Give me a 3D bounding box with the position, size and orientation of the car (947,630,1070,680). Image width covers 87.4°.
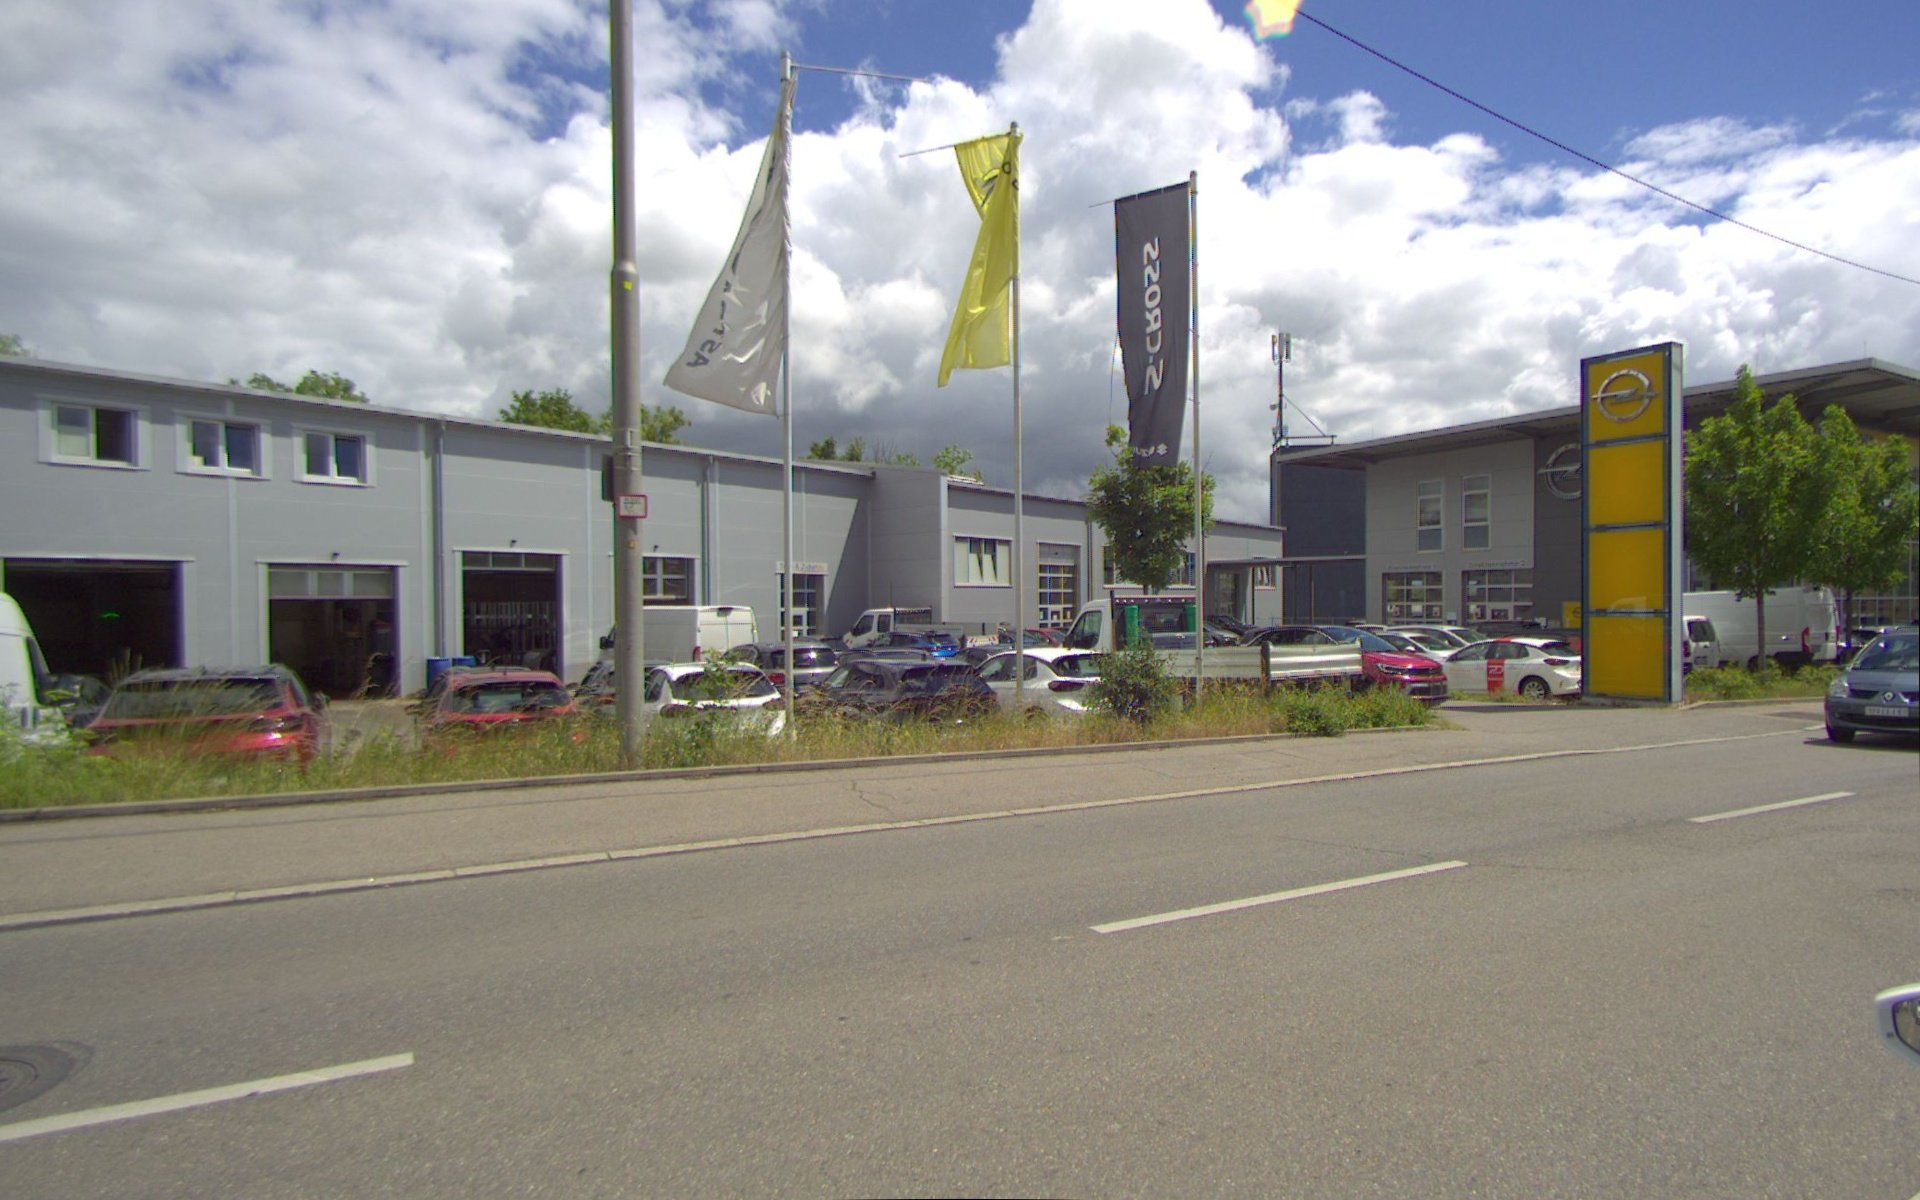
[{"bbox_3d":[1.755,1.965,36.842,4.174,1.603,1.921,1,-1,38],"label":"car"}]

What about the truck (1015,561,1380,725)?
[{"bbox_3d":[3.578,0.670,16.497,2.449,2.176,5.830,2,-2,-32],"label":"truck"}]

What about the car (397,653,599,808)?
[{"bbox_3d":[-5.701,1.450,12.427,1.903,1.404,4.020,2,-1,-26],"label":"car"}]

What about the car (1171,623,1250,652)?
[{"bbox_3d":[12.399,1.836,49.828,3.430,1.301,1.653,0,0,43],"label":"car"}]

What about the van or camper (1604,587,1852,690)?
[{"bbox_3d":[21.109,0.961,27.876,2.290,2.565,5.004,-1,0,-29],"label":"van or camper"}]

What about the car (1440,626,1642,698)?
[{"bbox_3d":[14.376,1.464,25.078,1.974,1.511,3.973,-1,0,-26],"label":"car"}]

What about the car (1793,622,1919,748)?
[{"bbox_3d":[13.777,1.139,14.266,3.996,1.616,1.735,1,-3,-31],"label":"car"}]

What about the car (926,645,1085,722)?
[{"bbox_3d":[0.869,1.712,21.385,1.626,1.346,3.806,2,-1,-29],"label":"car"}]

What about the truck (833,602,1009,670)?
[{"bbox_3d":[-1.504,1.262,36.343,6.220,2.258,2.689,-1,-2,41],"label":"truck"}]

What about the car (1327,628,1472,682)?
[{"bbox_3d":[13.328,1.611,30.636,1.827,1.417,3.675,-1,0,-32],"label":"car"}]

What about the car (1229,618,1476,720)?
[{"bbox_3d":[6.975,1.233,18.286,1.732,1.609,3.972,-1,-3,-28],"label":"car"}]

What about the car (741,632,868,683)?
[{"bbox_3d":[-5.191,1.851,33.301,4.178,1.428,1.919,0,1,40],"label":"car"}]

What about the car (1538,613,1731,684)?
[{"bbox_3d":[18.361,1.247,27.536,1.972,1.729,3.977,-1,0,-24],"label":"car"}]

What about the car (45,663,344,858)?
[{"bbox_3d":[-7.418,1.432,10.105,1.704,1.428,3.326,2,-1,-26],"label":"car"}]

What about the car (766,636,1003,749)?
[{"bbox_3d":[-1.180,1.173,13.928,1.905,1.227,3.700,2,-1,-29],"label":"car"}]

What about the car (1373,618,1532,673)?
[{"bbox_3d":[15.589,1.411,31.995,1.906,1.556,4.208,2,-1,-30],"label":"car"}]

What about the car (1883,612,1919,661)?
[{"bbox_3d":[33.577,1.257,33.281,4.468,1.593,1.935,1,-1,-6],"label":"car"}]

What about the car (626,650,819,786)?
[{"bbox_3d":[-3.161,1.384,12.883,1.688,1.342,3.534,2,-1,-26],"label":"car"}]

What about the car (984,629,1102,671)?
[{"bbox_3d":[3.163,1.900,38.746,4.174,1.428,1.921,1,-1,38],"label":"car"}]

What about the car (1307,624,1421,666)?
[{"bbox_3d":[15.292,1.654,38.159,1.828,1.417,3.672,-1,0,-34],"label":"car"}]

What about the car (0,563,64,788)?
[{"bbox_3d":[-9.710,0.691,8.675,2.174,2.040,4.139,-1,0,-31],"label":"car"}]

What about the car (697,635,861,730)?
[{"bbox_3d":[-3.345,1.397,18.054,1.813,1.428,3.664,2,-1,-29],"label":"car"}]

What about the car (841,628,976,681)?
[{"bbox_3d":[-1.729,1.744,33.031,4.175,1.516,1.921,1,-1,38],"label":"car"}]

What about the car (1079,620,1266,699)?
[{"bbox_3d":[4.604,1.307,22.340,1.804,1.542,4.061,-1,-3,-30],"label":"car"}]

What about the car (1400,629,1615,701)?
[{"bbox_3d":[12.670,1.454,23.486,1.977,1.428,3.967,2,-1,-30],"label":"car"}]

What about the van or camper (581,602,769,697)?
[{"bbox_3d":[-8.178,1.293,28.477,5.818,2.387,2.489,-1,0,43],"label":"van or camper"}]

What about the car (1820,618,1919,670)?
[{"bbox_3d":[29.311,1.298,30.560,4.738,1.470,1.900,-1,0,-2],"label":"car"}]

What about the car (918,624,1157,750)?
[{"bbox_3d":[1.070,1.234,15.689,1.905,1.631,3.868,2,-1,-29],"label":"car"}]

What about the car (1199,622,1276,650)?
[{"bbox_3d":[14.128,1.817,51.275,3.430,1.301,1.653,0,0,43],"label":"car"}]
